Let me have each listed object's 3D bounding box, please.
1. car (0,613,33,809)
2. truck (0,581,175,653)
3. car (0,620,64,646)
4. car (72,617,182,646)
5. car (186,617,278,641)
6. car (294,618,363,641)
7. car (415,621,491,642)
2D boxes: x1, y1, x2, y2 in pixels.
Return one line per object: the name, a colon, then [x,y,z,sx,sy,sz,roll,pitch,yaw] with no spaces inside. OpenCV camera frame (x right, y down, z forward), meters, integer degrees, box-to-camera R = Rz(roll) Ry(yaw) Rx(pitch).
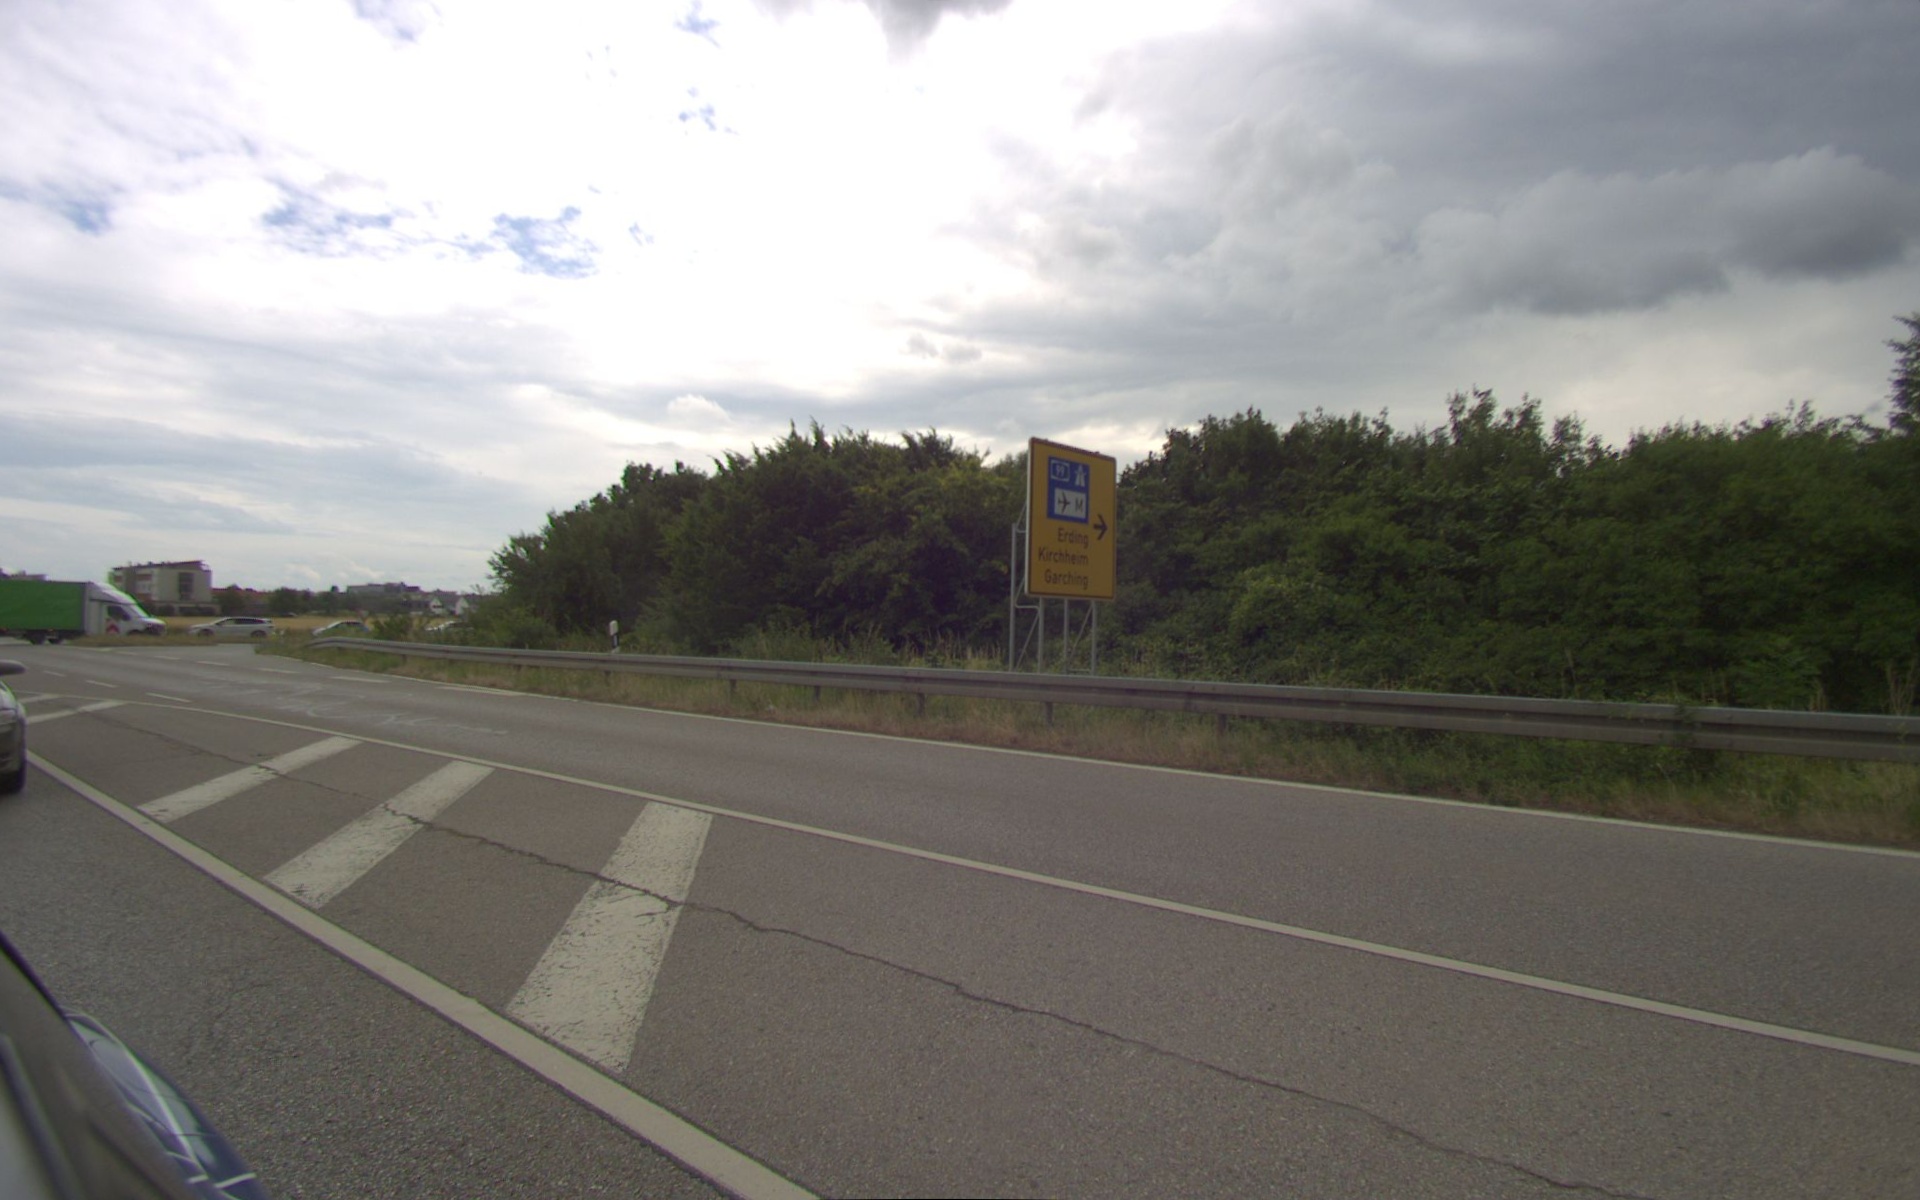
car: [-9.186,0.854,8.400,4.201,1.455,1.708,-1,-1,40]
truck: [-46.190,0.857,52.965,7.474,3.589,2.943,-1,0,-19]
car: [-56.819,1.977,61.457,3.807,1.501,1.988,0,-1,19]
car: [-50.358,1.898,61.267,1.996,1.702,4.758,-1,-2,36]
car: [-46.721,1.863,64.980,4.607,1.510,2.002,1,-2,-43]
car: [-42.668,1.982,68.405,3.662,1.510,1.732,1,-2,-43]
car: [-36.933,2.274,73.766,4.606,1.510,2.003,1,-2,-41]
